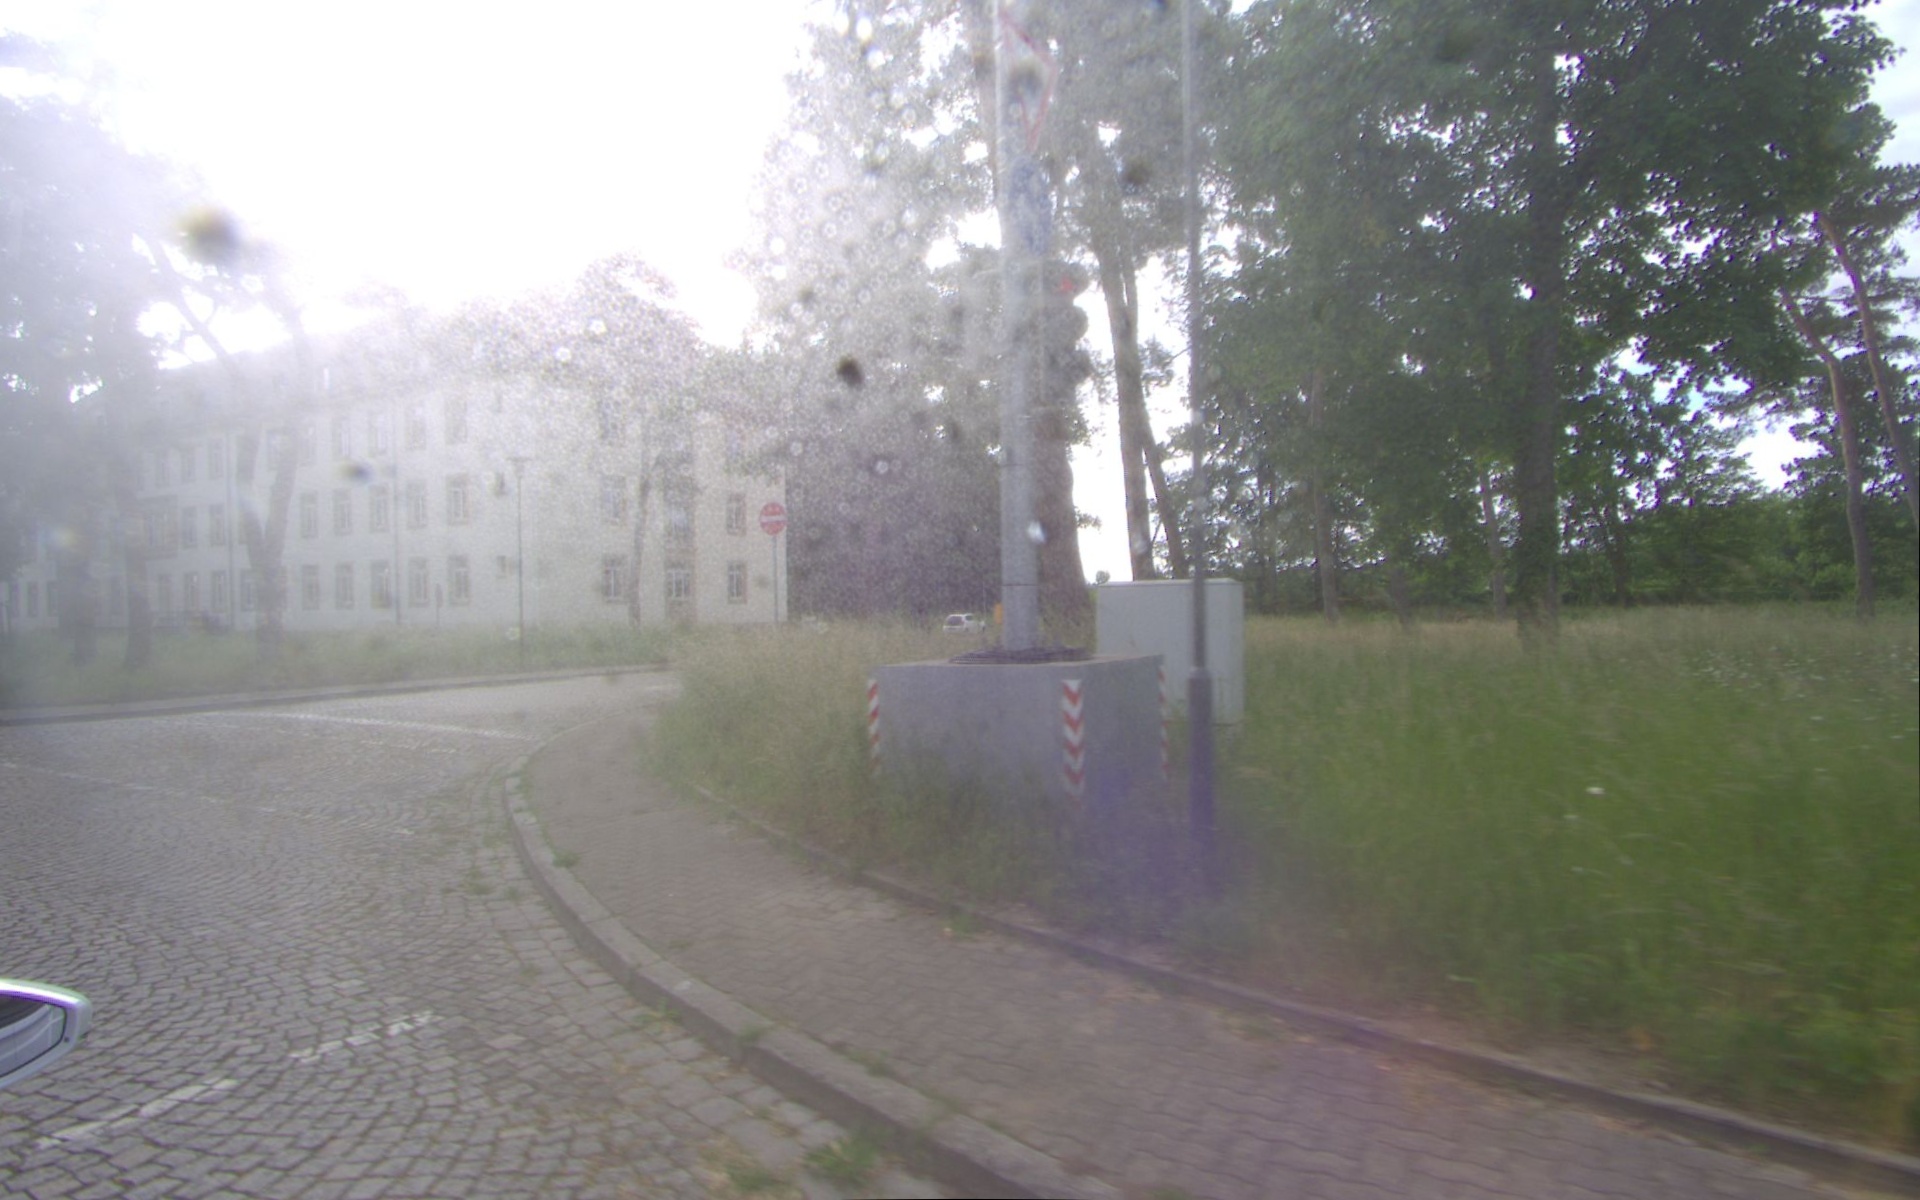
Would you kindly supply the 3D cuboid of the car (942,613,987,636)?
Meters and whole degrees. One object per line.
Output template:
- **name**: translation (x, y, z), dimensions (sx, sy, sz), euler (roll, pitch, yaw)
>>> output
- **car**: translation (0.319, 1.569, 64.037), dimensions (1.466, 1.455, 3.182), euler (-1, -2, 30)
